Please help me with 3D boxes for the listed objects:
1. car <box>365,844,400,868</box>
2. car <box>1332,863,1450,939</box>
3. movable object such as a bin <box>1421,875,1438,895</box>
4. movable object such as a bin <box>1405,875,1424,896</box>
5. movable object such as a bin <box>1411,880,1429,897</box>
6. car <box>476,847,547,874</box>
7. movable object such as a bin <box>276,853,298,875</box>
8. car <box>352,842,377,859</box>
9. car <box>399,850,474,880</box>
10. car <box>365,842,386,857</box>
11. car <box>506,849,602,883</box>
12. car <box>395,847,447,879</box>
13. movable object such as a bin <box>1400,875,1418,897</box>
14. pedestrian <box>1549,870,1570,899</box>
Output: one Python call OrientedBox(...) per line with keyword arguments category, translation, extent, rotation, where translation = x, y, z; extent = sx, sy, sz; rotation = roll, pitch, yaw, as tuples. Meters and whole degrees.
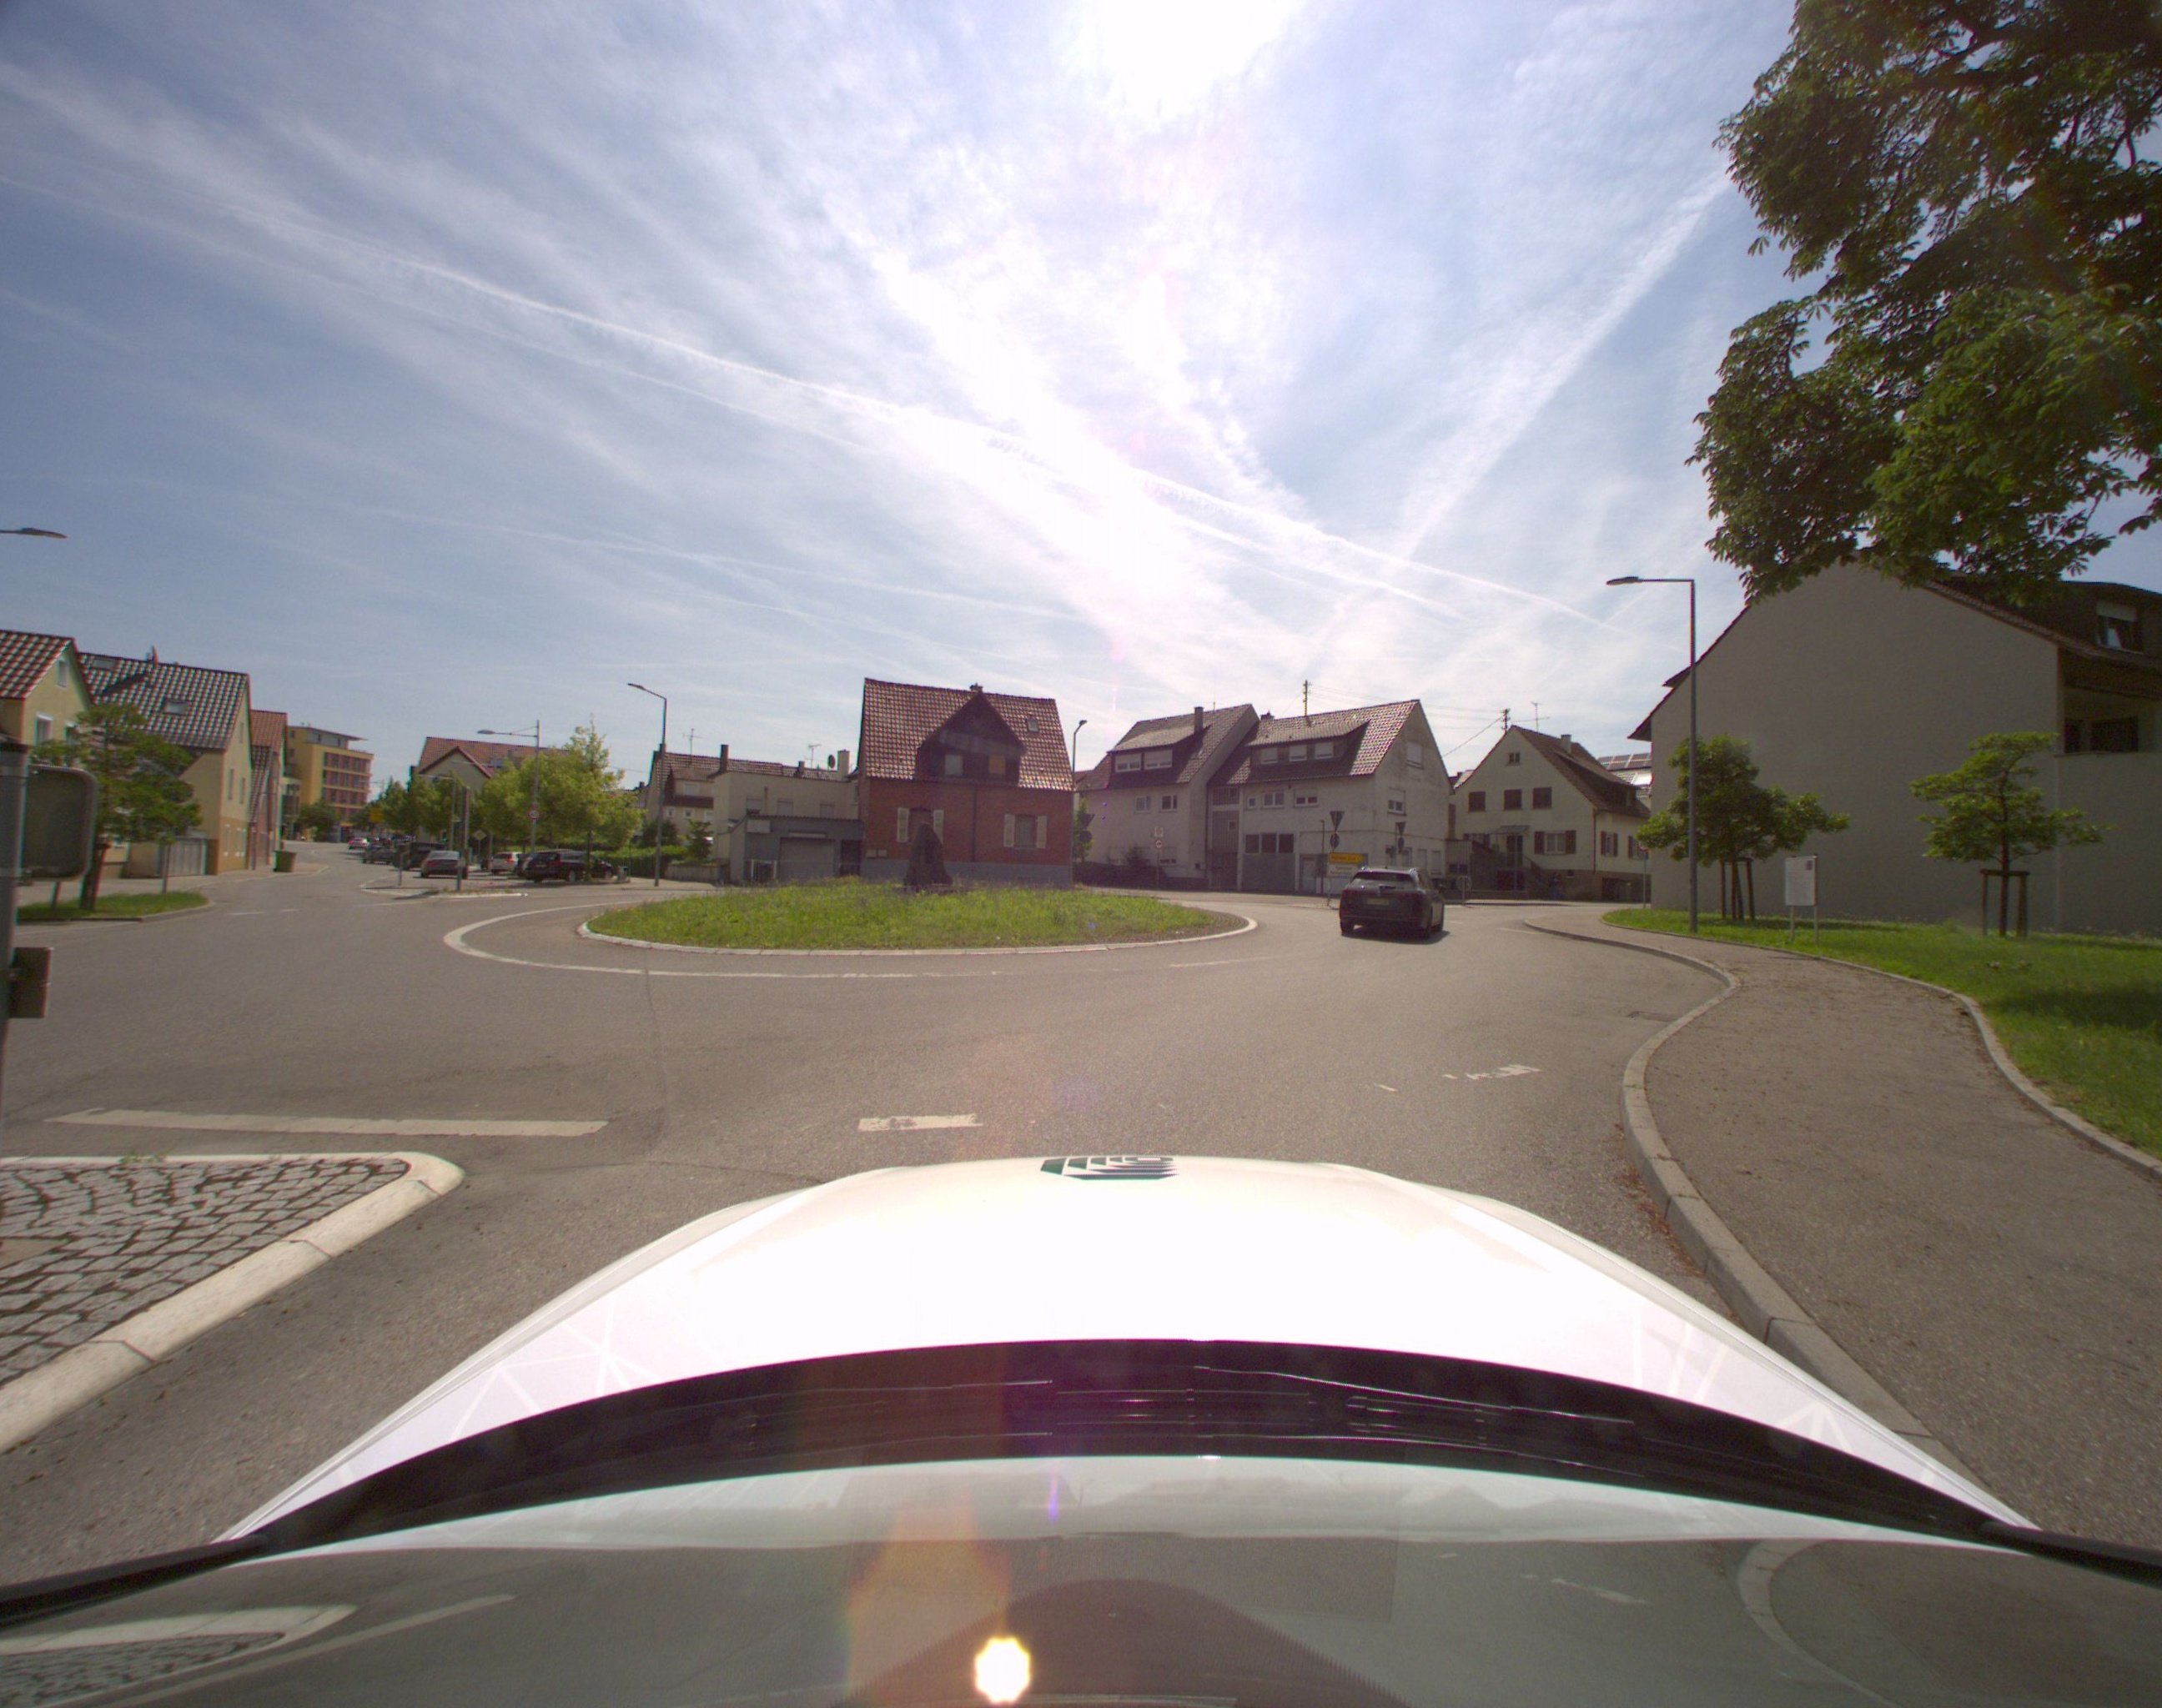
OrientedBox(category="car", translation=(-60.295, 0.165, 70.245), extent=(2.129, 2.014, 3.952), rotation=(3, -2, -42))
OrientedBox(category="car", translation=(6.991, 0.935, 18.035), extent=(1.824, 1.420, 4.710), rotation=(1, -1, 28))
OrientedBox(category="movable object such as a bin", translation=(19.293, 1.697, 45.123), extent=(0.676, 1.082, 0.629), rotation=(1, -1, 45))
OrientedBox(category="movable object such as a bin", translation=(17.888, 1.692, 43.682), extent=(0.676, 1.086, 0.702), rotation=(1, -1, 45))
OrientedBox(category="movable object such as a bin", translation=(18.414, 1.844, 44.208), extent=(0.676, 0.896, 0.702), rotation=(1, -1, 45))
OrientedBox(category="car", translation=(-37.654, 0.449, 53.966), extent=(1.861, 1.669, 3.998), rotation=(2, -1, 0))
OrientedBox(category="movable object such as a bin", translation=(-38.600, 0.489, 39.574), extent=(0.667, 1.052, 0.703), rotation=(1, -1, 43))
OrientedBox(category="car", translation=(-88.151, -0.418, 100.163), extent=(2.129, 2.014, 3.952), rotation=(3, -2, -42))
OrientedBox(category="car", translation=(-33.205, 0.558, 41.941), extent=(4.161, 1.391, 1.889), rotation=(1, -2, 36))
OrientedBox(category="car", translation=(-102.862, -0.617, 118.691), extent=(2.129, 2.014, 3.952), rotation=(3, -2, -42))
OrientedBox(category="car", translation=(-27.284, 0.649, 42.303), extent=(1.800, 1.618, 4.012), rotation=(1, -1, 12))
OrientedBox(category="car", translation=(-44.012, 0.601, 54.260), extent=(3.950, 2.014, 2.130), rotation=(1, -2, 44))
OrientedBox(category="movable object such as a bin", translation=(17.399, 1.693, 43.174), extent=(0.676, 1.086, 0.648), rotation=(1, -1, 45))
OrientedBox(category="pedestrian", translation=(26.821, 1.718, 45.626), extent=(0.629, 1.574, 0.772), rotation=(1, -1, -27))
